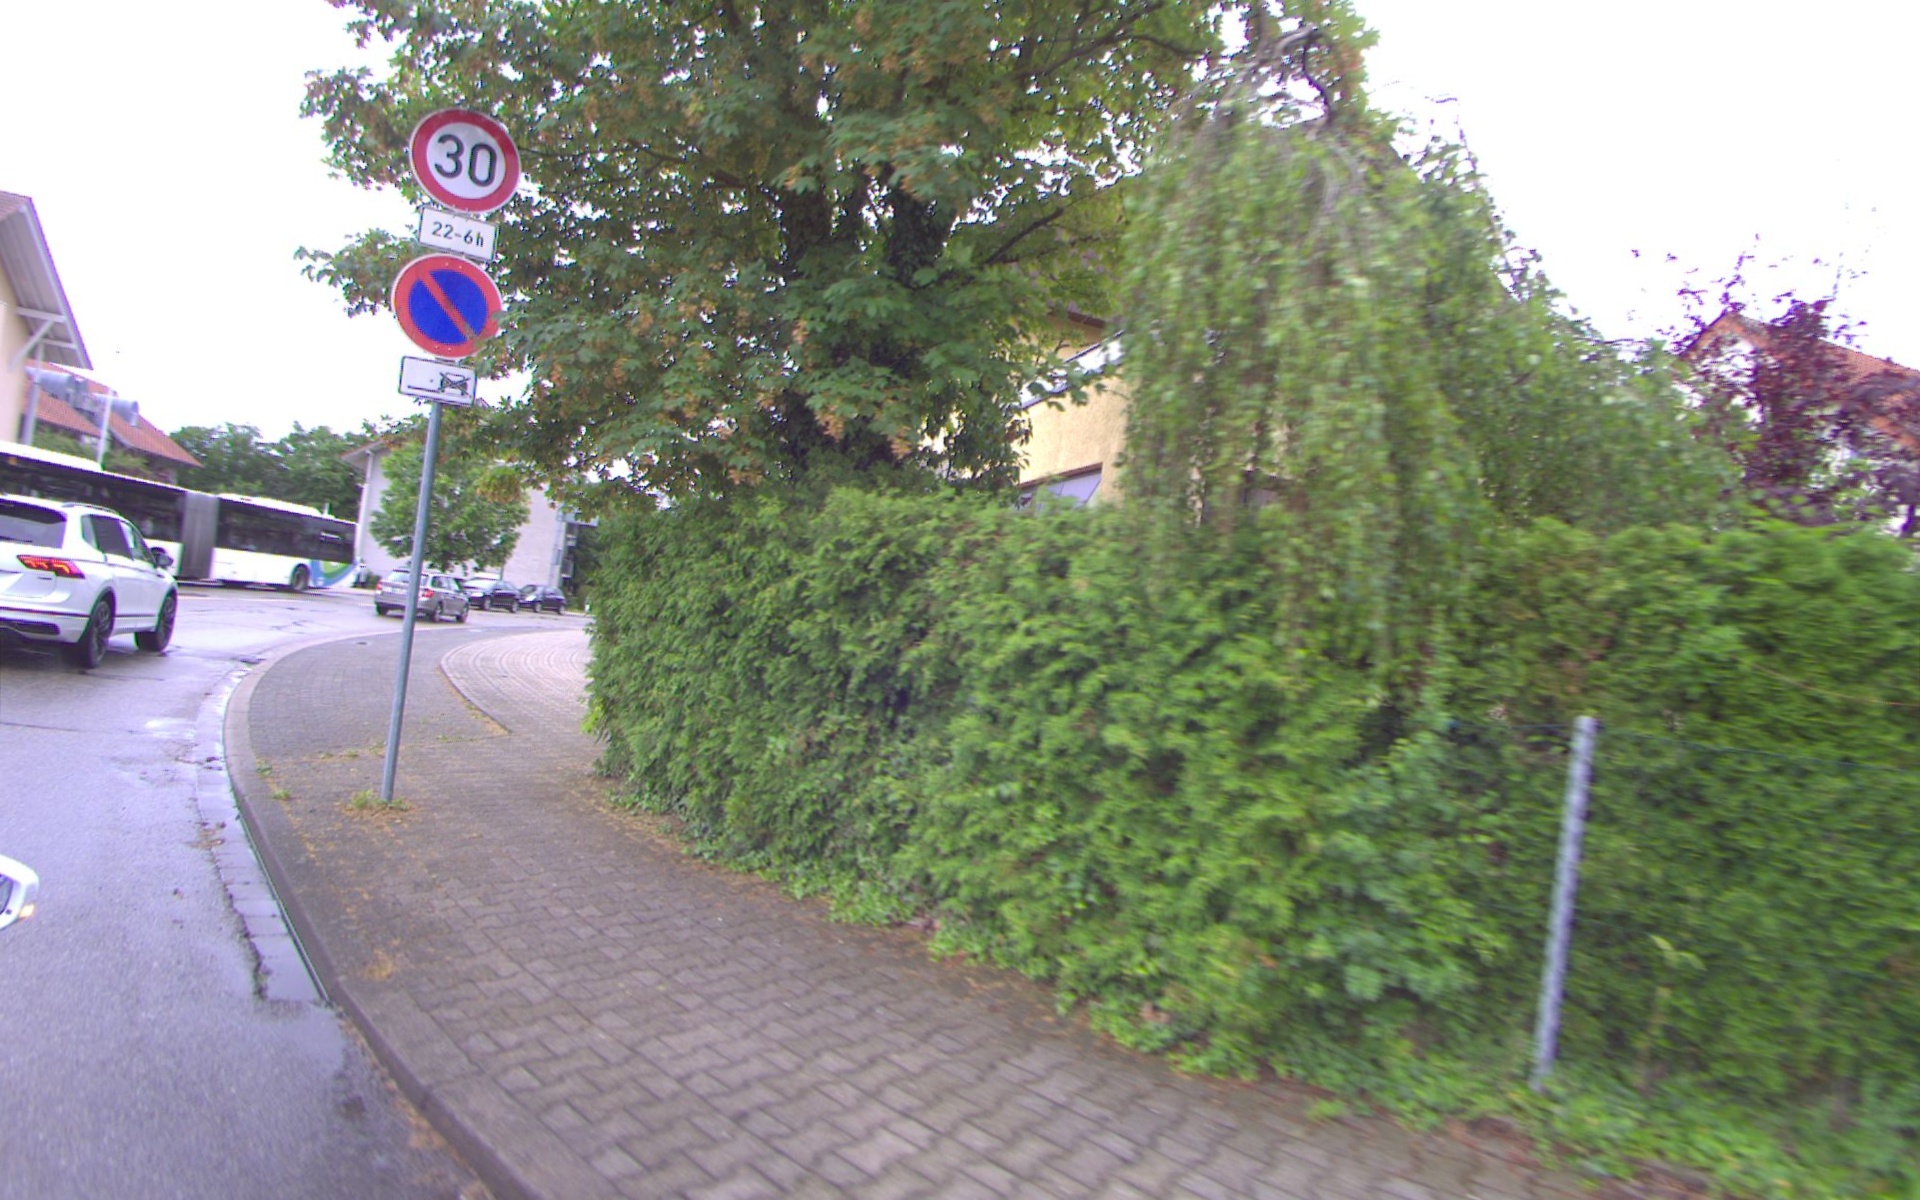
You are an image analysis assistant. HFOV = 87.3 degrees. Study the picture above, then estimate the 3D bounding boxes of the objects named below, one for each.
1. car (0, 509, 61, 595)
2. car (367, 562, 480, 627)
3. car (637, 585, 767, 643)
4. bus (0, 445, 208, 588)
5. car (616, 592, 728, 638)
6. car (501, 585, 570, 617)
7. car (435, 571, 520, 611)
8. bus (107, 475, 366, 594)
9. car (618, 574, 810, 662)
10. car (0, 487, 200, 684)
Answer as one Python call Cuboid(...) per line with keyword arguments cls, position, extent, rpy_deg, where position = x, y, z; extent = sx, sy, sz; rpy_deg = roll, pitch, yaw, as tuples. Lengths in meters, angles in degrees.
Cuboid(cls="car", position=(-17.990, -0.970, 17.255), extent=(1.925, 1.537, 4.166), rpy_deg=(6, -1, -12))
Cuboid(cls="car", position=(-16.152, -0.089, 30.518), extent=(1.742, 1.526, 3.997), rpy_deg=(8, -4, -10))
Cuboid(cls="car", position=(-8.607, 0.468, 33.516), extent=(3.997, 1.617, 1.888), rpy_deg=(4, 0, -20))
Cuboid(cls="bus", position=(-22.883, -2.037, 24.574), extent=(2.509, 3.037, 9.198), rpy_deg=(6, -1, -5))
Cuboid(cls="car", position=(-11.988, 0.623, 42.149), extent=(4.280, 1.617, 1.763), rpy_deg=(4, 0, -12))
Cuboid(cls="car", position=(-22.586, 0.070, 53.677), extent=(1.562, 1.439, 3.698), rpy_deg=(6, -1, 9))
Cuboid(cls="car", position=(-21.393, -0.358, 44.795), extent=(1.832, 1.537, 4.290), rpy_deg=(5, -1, -4))
Cuboid(cls="bus", position=(-23.480, -1.915, 33.406), extent=(2.546, 3.037, 8.403), rpy_deg=(6, -1, -2))
Cuboid(cls="car", position=(-5.934, 0.446, 24.192), extent=(4.244, 1.804, 1.897), rpy_deg=(4, 0, -20))
Cuboid(cls="car", position=(-10.157, -0.270, 11.070), extent=(1.906, 1.740, 4.238), rpy_deg=(11, -3, -27))
